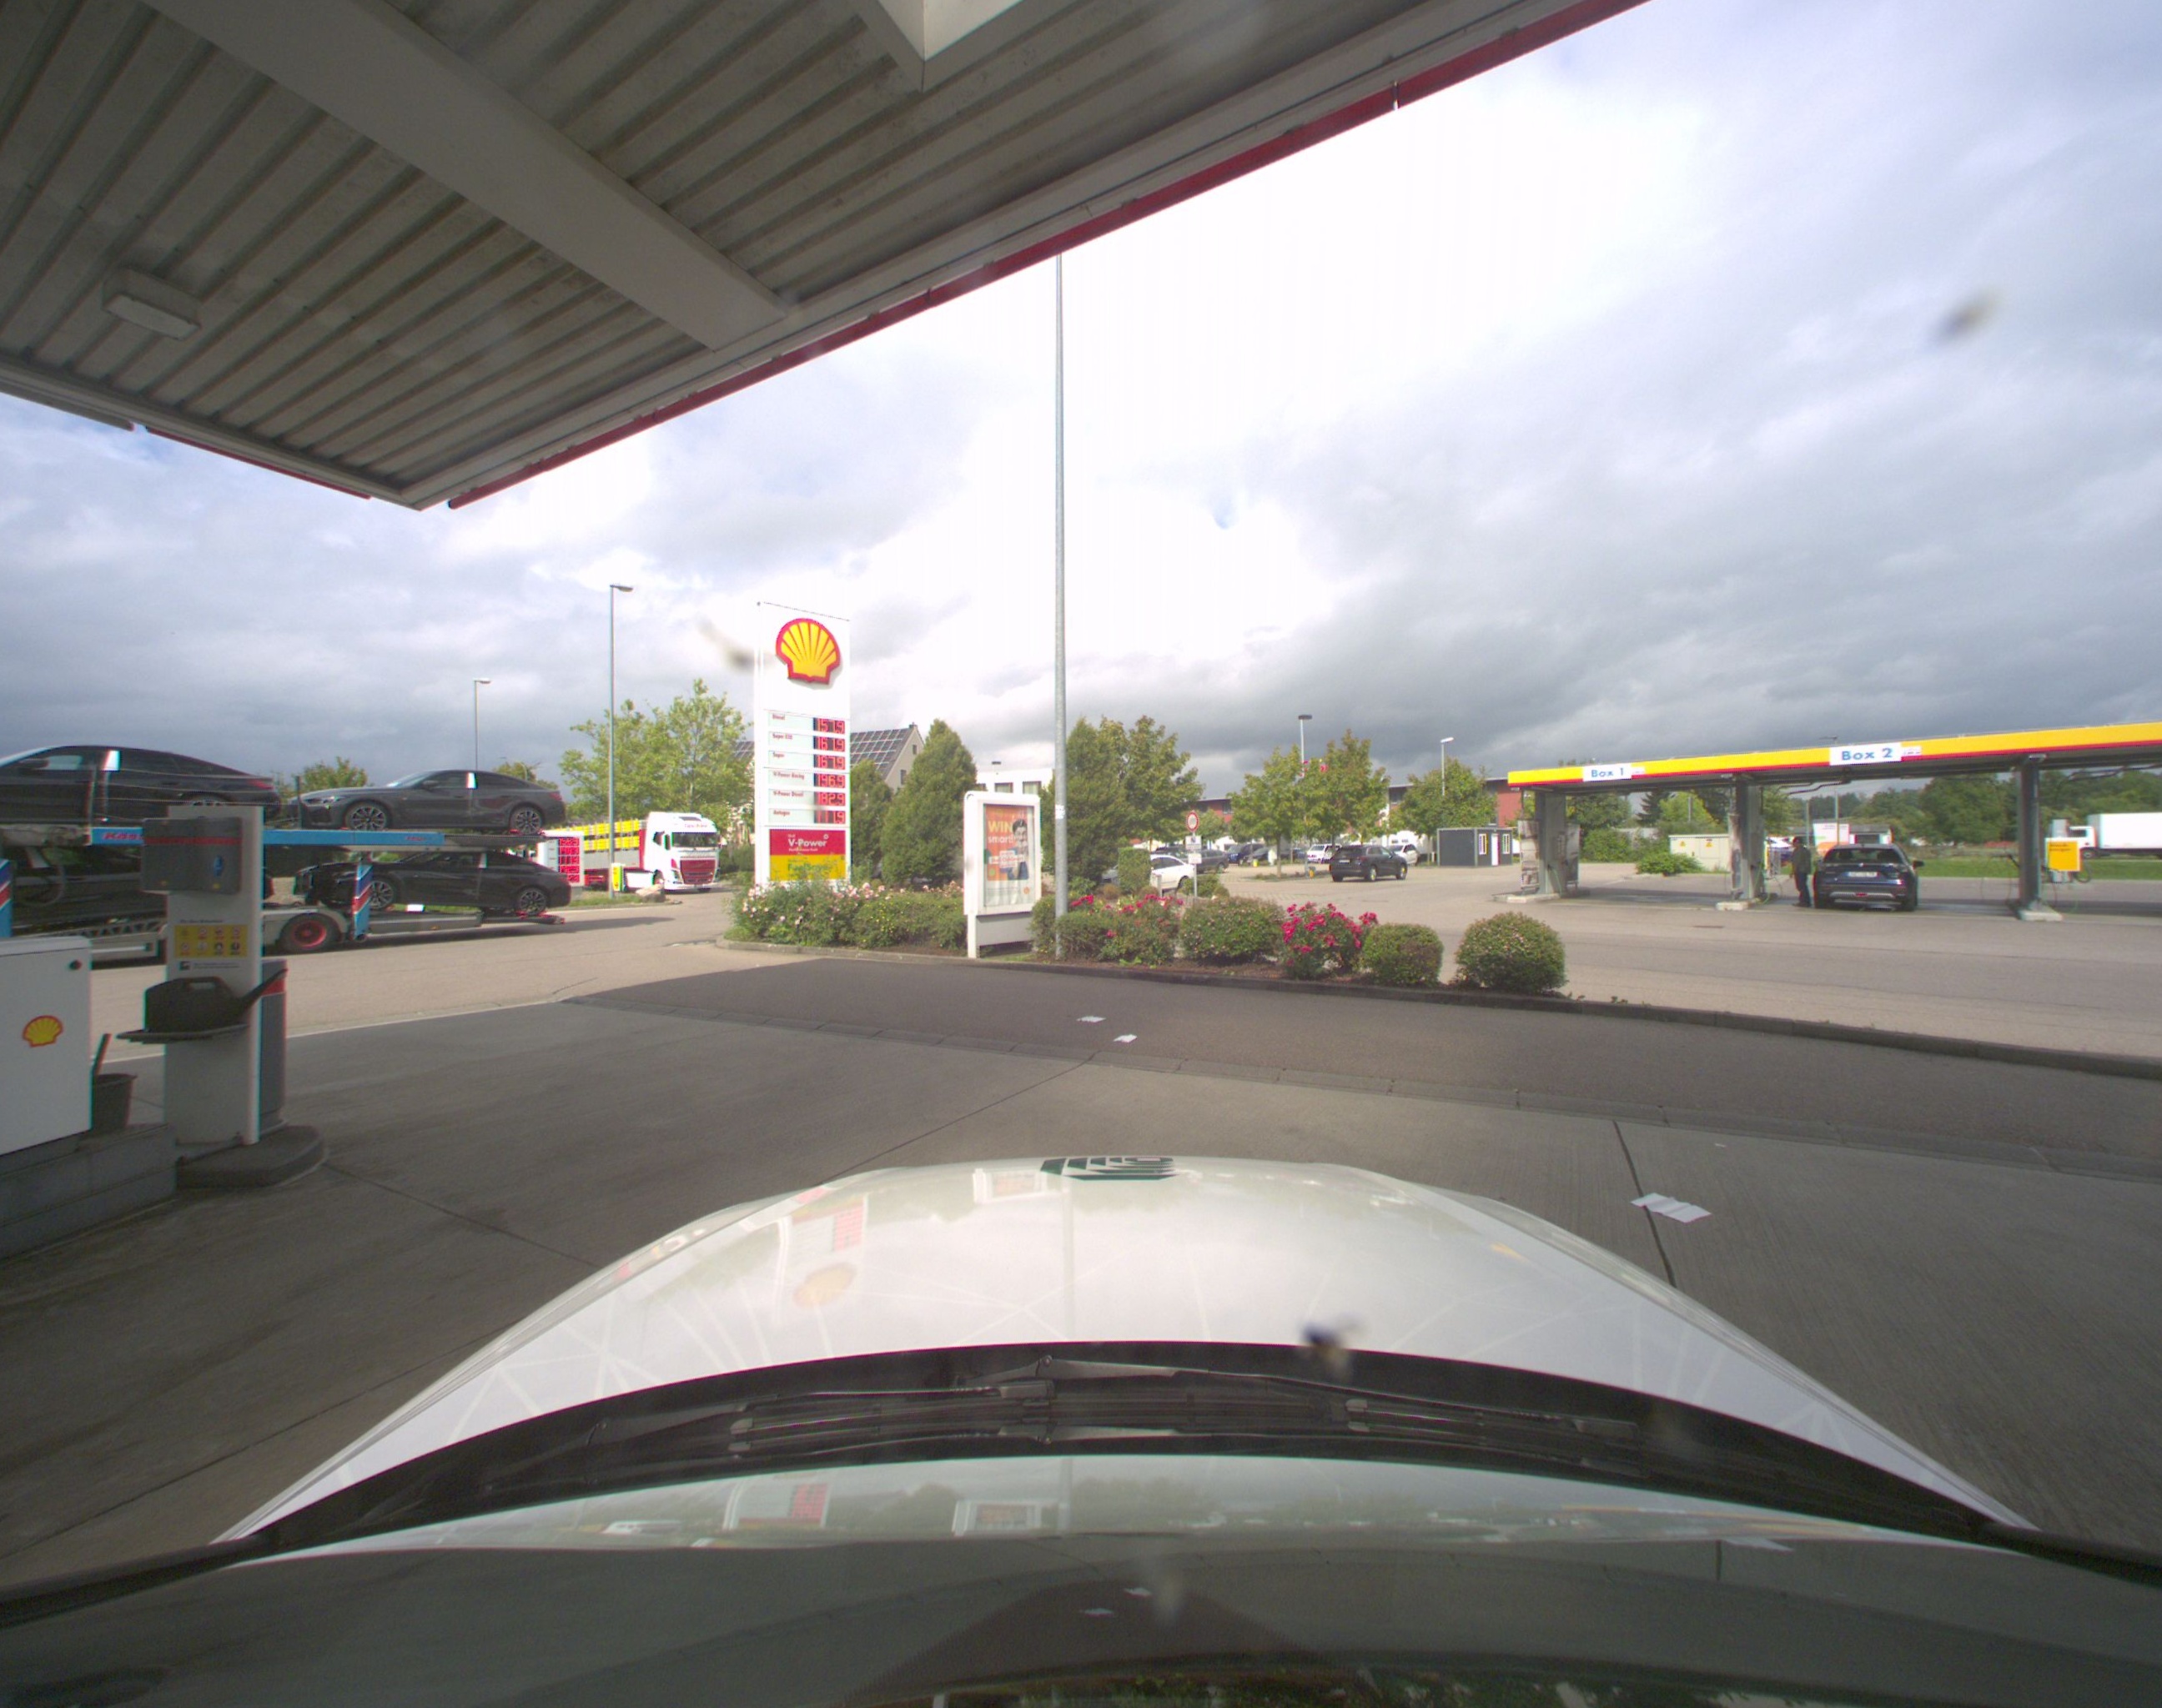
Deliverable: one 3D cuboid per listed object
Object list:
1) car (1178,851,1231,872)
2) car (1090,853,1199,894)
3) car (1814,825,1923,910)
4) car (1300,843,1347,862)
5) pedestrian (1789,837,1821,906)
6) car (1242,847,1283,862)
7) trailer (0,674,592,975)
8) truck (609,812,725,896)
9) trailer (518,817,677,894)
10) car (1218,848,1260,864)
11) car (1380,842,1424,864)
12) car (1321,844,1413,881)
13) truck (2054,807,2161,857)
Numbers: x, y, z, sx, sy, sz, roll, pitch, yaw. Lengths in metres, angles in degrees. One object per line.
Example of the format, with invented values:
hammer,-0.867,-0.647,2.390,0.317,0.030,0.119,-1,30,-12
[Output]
car,7.547,0.441,49.702,3.245,1.228,1.488,0,-1,-42
car,2.400,0.677,30.017,4.368,1.404,1.354,0,-1,-42
car,19.444,0.309,20.071,3.828,1.897,1.703,0,-1,-43
car,23.882,-0.134,80.264,4.903,1.833,2.159,0,-1,-41
pedestrian,18.326,0.432,20.615,0.551,1.722,0.531,-1,-1,38
car,14.500,0.025,64.872,3.437,1.179,1.468,0,-1,-42
trailer,-16.429,-0.415,13.682,2.711,4.423,14.450,-1,-1,31
truck,-20.442,0.048,40.136,5.842,3.846,2.759,-1,-1,36
trailer,-26.835,0.133,44.771,12.548,3.776,2.757,-1,-1,36
car,12.958,0.172,66.656,3.407,1.320,1.726,0,-1,-42
car,20.615,-0.056,52.211,3.120,1.307,1.352,0,-1,-42
car,12.883,0.367,36.576,4.527,1.548,1.864,0,-1,-41
truck,78.238,-1.574,60.001,7.989,3.534,2.714,-1,-1,41
